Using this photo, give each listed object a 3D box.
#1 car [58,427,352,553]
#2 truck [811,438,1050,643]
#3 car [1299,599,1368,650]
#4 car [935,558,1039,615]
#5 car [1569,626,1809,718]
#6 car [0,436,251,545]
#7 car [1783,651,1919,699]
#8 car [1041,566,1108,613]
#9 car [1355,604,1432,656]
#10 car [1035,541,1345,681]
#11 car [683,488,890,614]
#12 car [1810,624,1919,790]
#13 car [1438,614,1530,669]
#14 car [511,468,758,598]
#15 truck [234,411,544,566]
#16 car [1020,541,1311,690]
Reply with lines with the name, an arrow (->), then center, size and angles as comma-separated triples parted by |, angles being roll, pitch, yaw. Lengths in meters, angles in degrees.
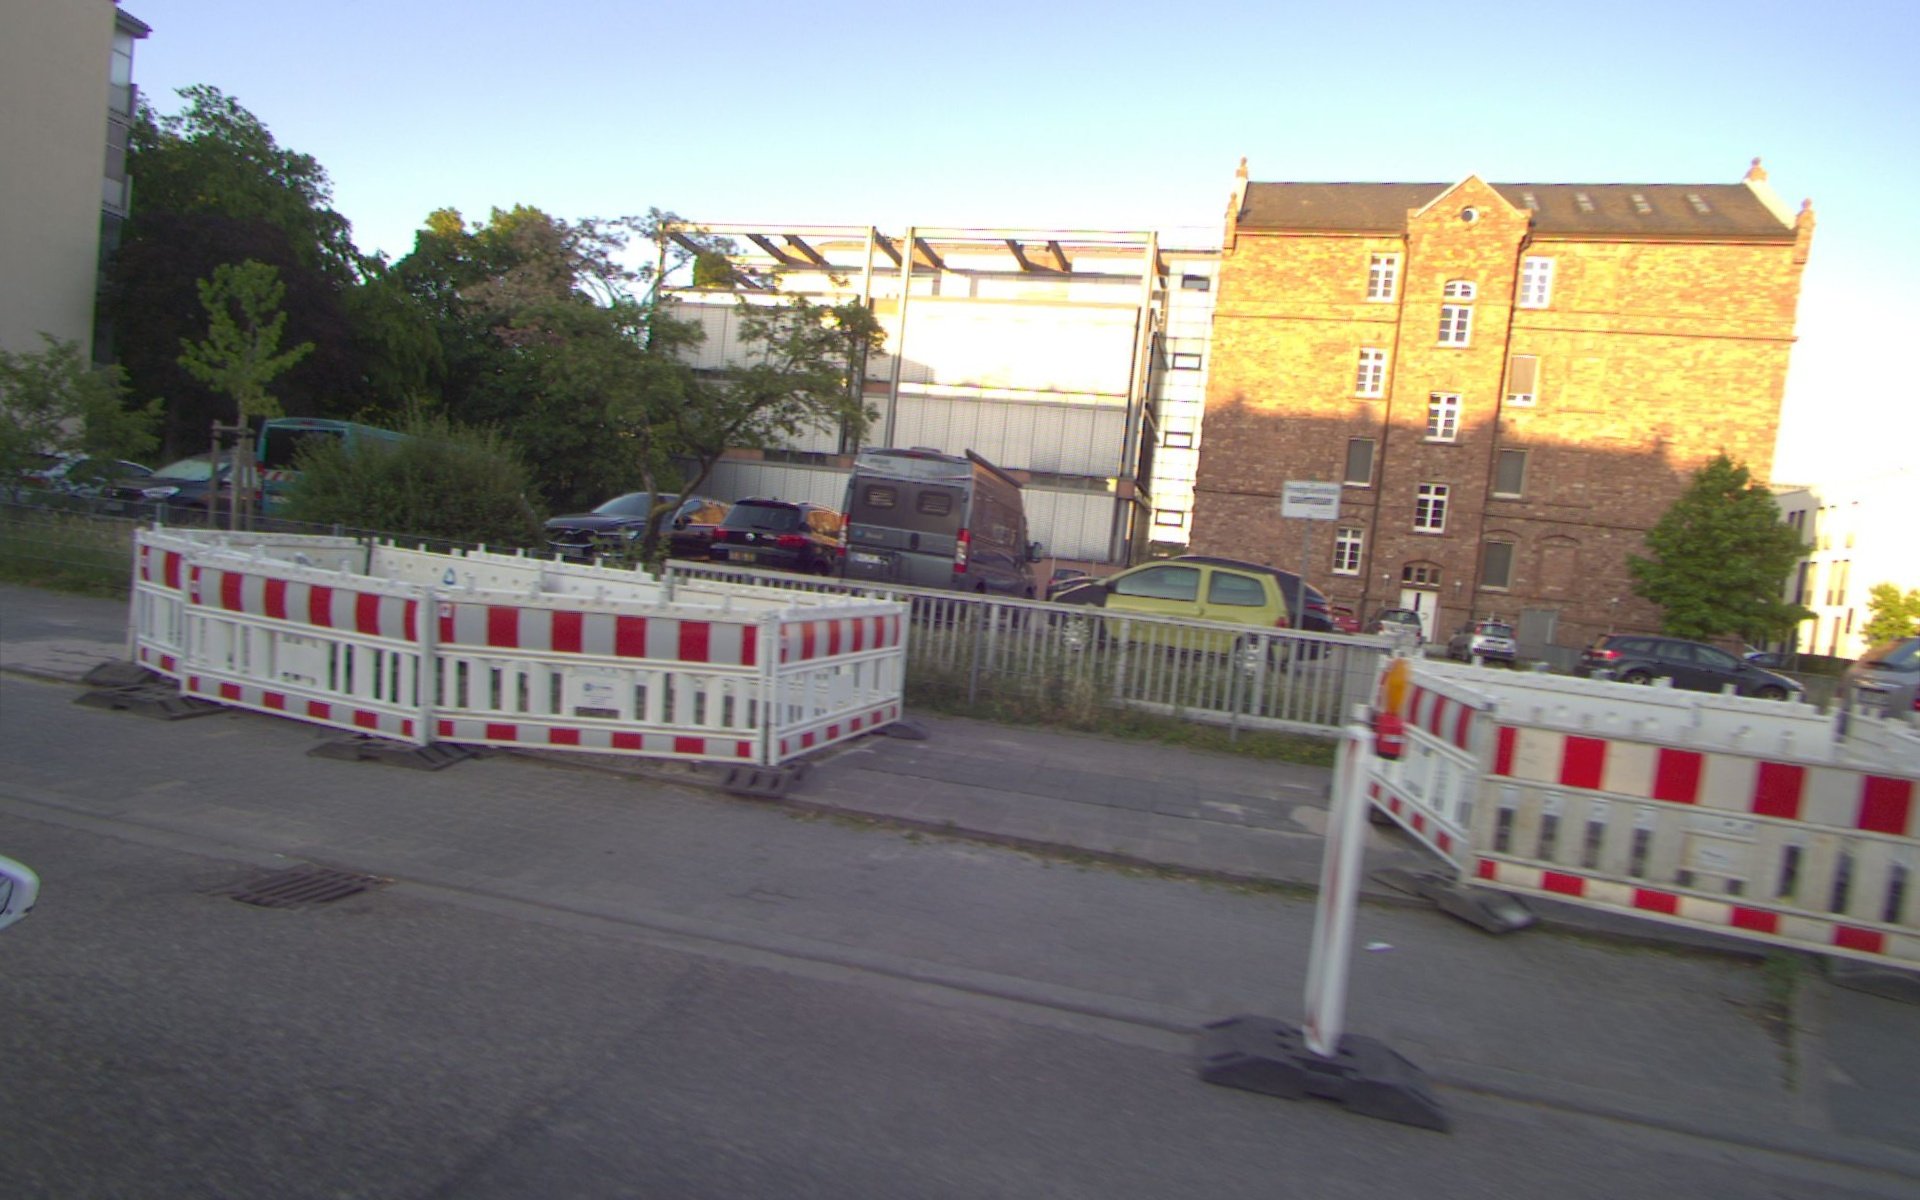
car -> -14.493, -2.025, 19.650 | 1.962, 1.850, 4.224 | 7, 2, 14
truck -> -0.244, -0.872, 16.499 | 2.297, 2.652, 4.969 | 7, 2, 15
car -> 13.777, 0.838, 37.318 | 1.866, 1.558, 4.176 | 7, 2, 15
car -> 0.871, -0.390, 29.026 | 1.909, 1.323, 4.361 | 7, 2, 15
car -> 16.826, 1.621, 23.455 | 4.061, 1.503, 1.641 | 7, 3, 17
car -> -17.094, -2.154, 20.301 | 1.962, 1.669, 4.224 | 7, 2, 14
car -> 37.630, 3.129, 42.397 | 3.924, 1.331, 2.062 | 8, 3, 14
car -> 4.606, -0.406, 39.908 | 1.866, 1.558, 4.176 | 7, 2, 15
car -> 15.781, 1.051, 36.829 | 1.866, 1.558, 4.176 | 7, 2, 15
car -> 3.649, 0.129, 16.231 | 4.511, 1.660, 1.574 | 7, 3, 16
car -> -2.795, -0.776, 17.178 | 1.962, 1.715, 3.997 | 7, 2, 13
car -> 12.431, 1.387, 11.075 | 4.201, 1.732, 1.701 | 7, 3, 14
car -> 18.623, 1.410, 35.940 | 1.866, 1.558, 4.176 | 7, 2, 15
car -> -5.309, -1.037, 17.101 | 1.962, 1.750, 4.298 | 7, 2, 13
truck -> -9.991, -1.861, 18.082 | 2.072, 2.118, 4.509 | 7, 2, 18
car -> 2.817, 0.166, 13.843 | 3.574, 1.524, 1.636 | 7, 3, 16
